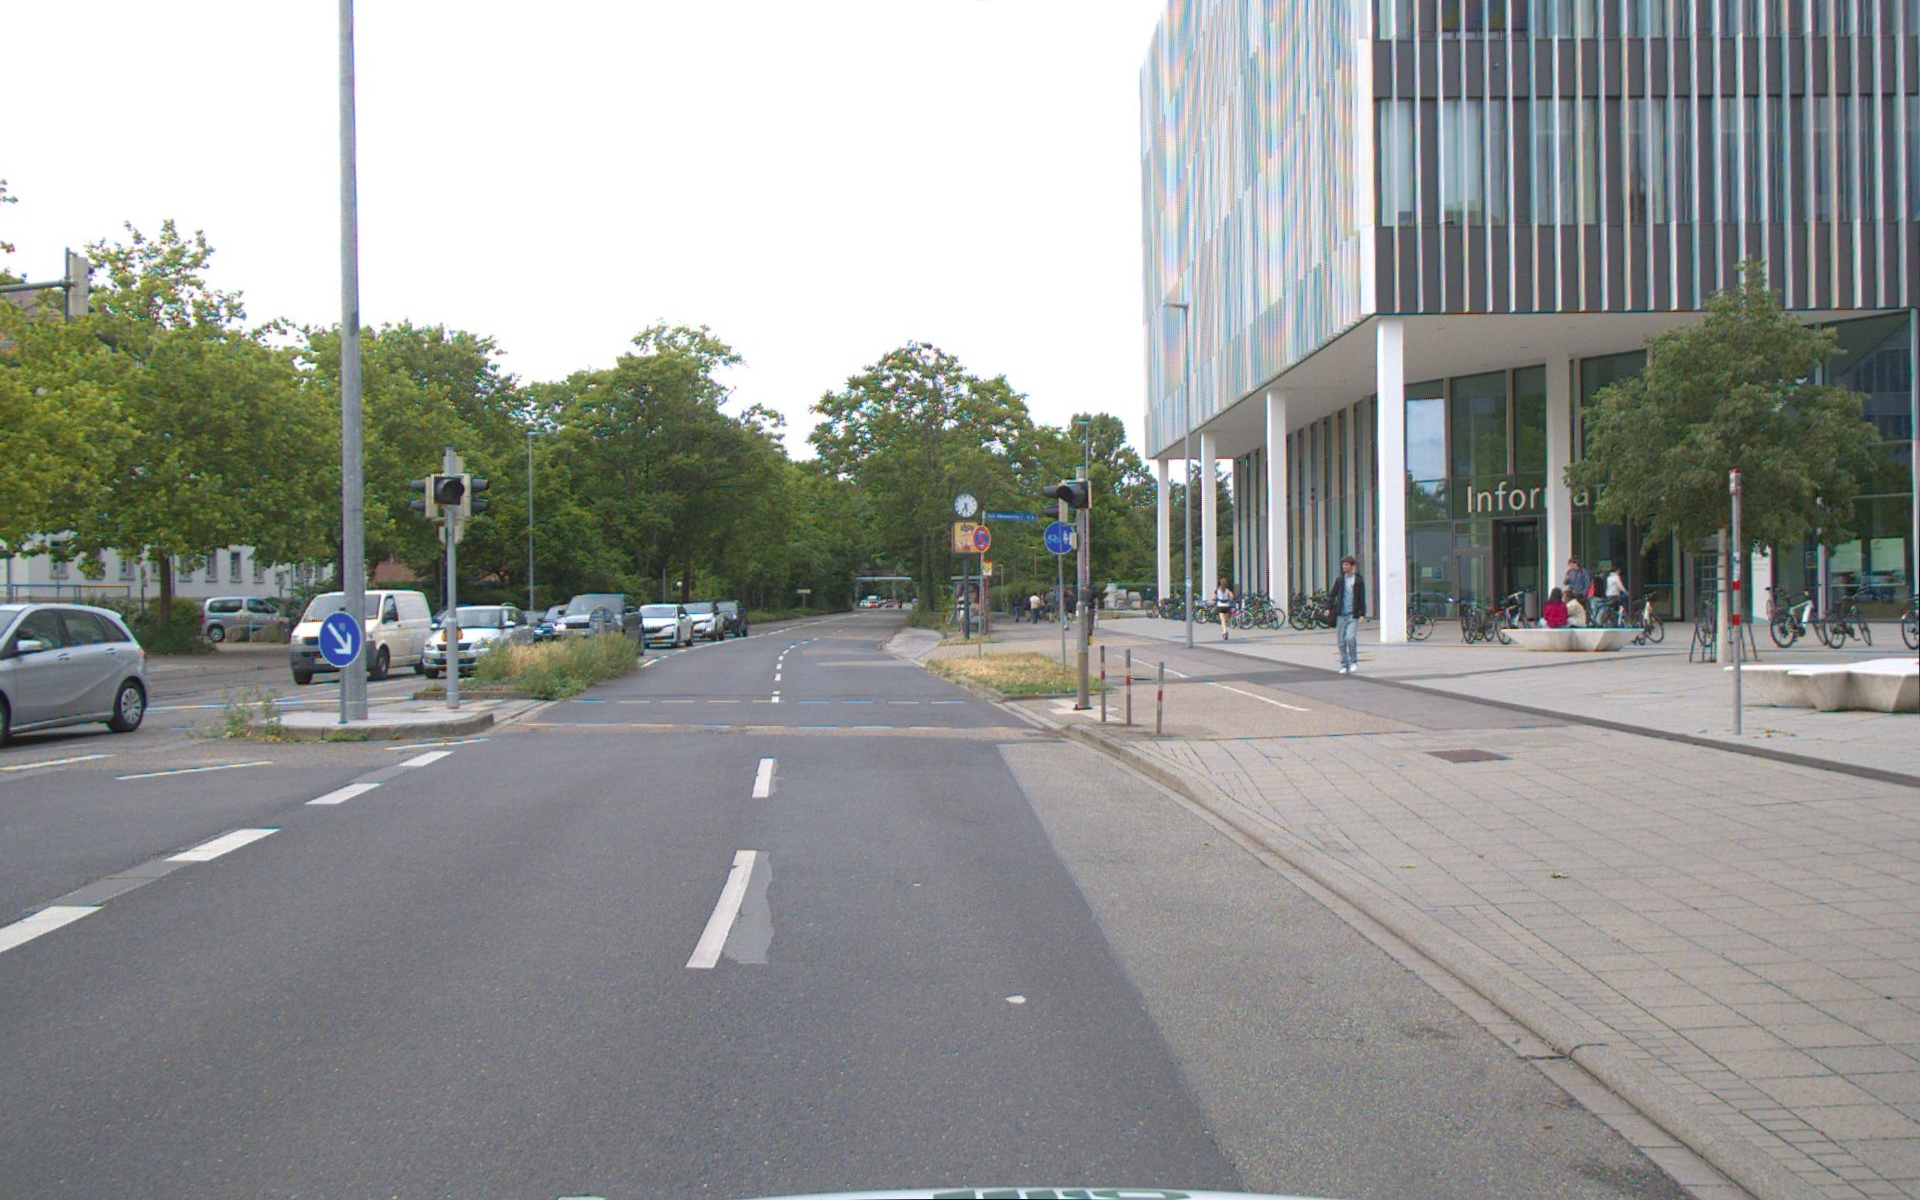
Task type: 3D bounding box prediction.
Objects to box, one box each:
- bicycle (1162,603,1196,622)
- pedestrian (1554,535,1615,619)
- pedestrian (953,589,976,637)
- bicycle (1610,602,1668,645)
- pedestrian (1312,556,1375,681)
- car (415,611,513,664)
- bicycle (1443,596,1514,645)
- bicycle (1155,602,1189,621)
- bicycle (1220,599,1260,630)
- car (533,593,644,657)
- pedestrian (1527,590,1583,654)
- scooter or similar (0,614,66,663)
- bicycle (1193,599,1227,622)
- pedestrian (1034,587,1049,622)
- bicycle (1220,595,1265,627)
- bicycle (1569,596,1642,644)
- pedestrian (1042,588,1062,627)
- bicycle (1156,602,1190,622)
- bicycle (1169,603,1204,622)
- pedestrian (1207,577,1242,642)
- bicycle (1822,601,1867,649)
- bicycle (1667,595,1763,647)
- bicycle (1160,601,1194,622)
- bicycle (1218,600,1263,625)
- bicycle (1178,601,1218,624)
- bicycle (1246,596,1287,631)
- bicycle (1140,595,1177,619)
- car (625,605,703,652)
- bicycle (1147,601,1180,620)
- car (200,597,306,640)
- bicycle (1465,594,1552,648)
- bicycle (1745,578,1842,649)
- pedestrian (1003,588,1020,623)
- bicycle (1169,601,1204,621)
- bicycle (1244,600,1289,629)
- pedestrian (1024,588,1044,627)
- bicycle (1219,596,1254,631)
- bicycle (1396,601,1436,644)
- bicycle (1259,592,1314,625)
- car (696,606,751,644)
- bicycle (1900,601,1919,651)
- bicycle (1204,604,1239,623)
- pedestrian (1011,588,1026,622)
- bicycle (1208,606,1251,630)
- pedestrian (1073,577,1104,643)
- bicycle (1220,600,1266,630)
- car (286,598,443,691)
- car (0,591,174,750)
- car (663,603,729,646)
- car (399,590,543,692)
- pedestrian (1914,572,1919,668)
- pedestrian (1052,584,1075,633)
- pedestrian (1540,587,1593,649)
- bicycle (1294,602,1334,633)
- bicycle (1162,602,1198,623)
[{"bbox_3d":[10.655,0.609,80.531,1.573,0.890,0.556,-2,0,-1],"label":"bicycle"},{"bbox_3d":[15.962,-0.579,42.273,1.156,2.098,1.136,1,0,3],"label":"pedestrian"},{"bbox_3d":[0.184,0.563,73.753,0.894,2.048,0.853,-3,2,-2],"label":"pedestrian"},{"bbox_3d":[15.144,0.518,36.859,0.659,0.914,1.836,-2,0,40],"label":"bicycle"},{"bbox_3d":[6.449,0.302,27.865,0.825,2.049,0.894,-1,0,1],"label":"pedestrian"},{"bbox_3d":[-16.451,1.200,55.123,1.820,1.636,4.593,1,0,1],"label":"car"},{"bbox_3d":[12.789,0.497,40.763,2.167,1.135,0.724,-1,0,-44],"label":"bicycle"},{"bbox_3d":[10.528,0.575,82.132,1.573,0.890,0.556,-2,0,-1],"label":"bicycle"},{"bbox_3d":[10.410,0.540,61.521,1.372,1.061,0.559,-3,0,-1],"label":"bicycle"},{"bbox_3d":[-10.496,0.677,47.074,1.952,1.717,4.948,0,0,1],"label":"car"},{"bbox_3d":[11.676,0.424,32.435,0.827,1.227,0.892,-1,0,33],"label":"pedestrian"},{"bbox_3d":[-25.318,1.046,45.117,1.542,1.265,0.566,-1,0,-1],"label":"scooter or similar"},{"bbox_3d":[10.344,0.447,68.457,1.257,0.890,0.556,-2,0,-1],"label":"bicycle"},{"bbox_3d":[4.903,0.260,99.302,0.807,2.049,0.720,-2,0,-2],"label":"pedestrian"},{"bbox_3d":[10.878,0.429,63.682,1.609,1.110,0.573,-4,-1,8],"label":"bicycle"},{"bbox_3d":[14.619,0.453,37.452,1.944,1.019,0.762,-1,0,-43],"label":"bicycle"},{"bbox_3d":[4.961,0.393,89.298,0.907,2.049,1.038,-1,0,-5],"label":"pedestrian"},{"bbox_3d":[10.482,0.580,81.545,1.573,0.890,0.556,-2,0,-1],"label":"bicycle"},{"bbox_3d":[10.848,0.596,79.346,1.573,0.890,0.556,-2,0,-1],"label":"bicycle"},{"bbox_3d":[7.720,0.265,48.335,0.825,1.868,0.894,-1,0,0],"label":"pedestrian"},{"bbox_3d":[17.655,0.487,32.999,0.388,0.914,1.462,-2,0,45],"label":"bicycle"},{"bbox_3d":[16.103,0.442,35.246,2.163,1.023,0.773,-1,0,-31],"label":"bicycle"},{"bbox_3d":[9.814,0.516,74.903,1.425,0.853,0.556,-2,0,-1],"label":"bicycle"},{"bbox_3d":[10.621,0.481,62.672,1.573,0.890,0.556,-1,0,-1],"label":"bicycle"},{"bbox_3d":[9.948,0.510,69.196,1.573,0.890,0.556,-2,0,-1],"label":"bicycle"},{"bbox_3d":[10.191,0.445,55.124,0.597,1.098,1.957,-3,0,-12],"label":"bicycle"},{"bbox_3d":[10.229,0.366,85.086,1.758,1.100,0.626,-3,0,-3],"label":"bicycle"},{"bbox_3d":[-10.138,0.953,57.038,1.865,1.491,4.910,1,0,-1],"label":"car"},{"bbox_3d":[10.219,0.506,83.087,1.573,0.890,0.556,-2,0,-1],"label":"bicycle"},{"bbox_3d":[-28.453,0.738,66.644,3.514,1.630,1.651,1,0,-3],"label":"car"},{"bbox_3d":[13.069,0.492,39.366,2.698,1.208,0.762,-1,0,-43],"label":"bicycle"},{"bbox_3d":[17.082,0.266,33.889,1.975,1.328,0.641,-3,2,-23],"label":"bicycle"},{"bbox_3d":[3.077,0.325,98.934,0.907,2.049,1.038,-1,0,-5],"label":"pedestrian"},{"bbox_3d":[10.686,0.504,78.073,1.573,0.890,0.556,-2,0,-1],"label":"bicycle"},{"bbox_3d":[11.230,0.524,60.620,1.572,0.952,0.569,-4,0,10],"label":"bicycle"},{"bbox_3d":[4.006,0.412,89.437,0.907,2.049,1.038,-1,0,-5],"label":"pedestrian"},{"bbox_3d":[9.667,0.470,57.919,0.623,1.160,2.198,-4,0,-5],"label":"bicycle"},{"bbox_3d":[11.818,0.565,42.893,0.625,1.080,1.841,1,0,4],"label":"bicycle"},{"bbox_3d":[12.588,0.329,63.794,1.951,1.164,0.645,-3,0,41],"label":"bicycle"},{"bbox_3d":[-10.639,1.113,74.672,1.864,1.621,4.515,-1,0,-1],"label":"car"},{"bbox_3d":[18.342,0.481,31.382,0.533,0.914,1.347,-2,0,45],"label":"bicycle"},{"bbox_3d":[11.118,0.581,70.378,1.405,0.759,0.556,-2,0,-1],"label":"bicycle"},{"bbox_3d":[3.509,0.300,99.081,0.808,2.049,0.719,-1,0,-5],"label":"pedestrian"},{"bbox_3d":[10.572,0.713,64.925,1.573,0.890,0.556,-1,0,-1],"label":"bicycle"},{"bbox_3d":[4.136,0.318,53.200,0.825,2.049,0.894,-3,0,1],"label":"pedestrian"},{"bbox_3d":[10.627,0.555,62.093,1.574,0.999,0.556,-4,0,-1],"label":"bicycle"},{"bbox_3d":[-12.989,0.921,36.387,1.735,1.880,4.489,1,0,1],"label":"car"},{"bbox_3d":[-10.832,0.757,18.459,1.917,1.611,4.257,-2,1,2],"label":"car"},{"bbox_3d":[-10.496,0.969,66.012,1.953,1.574,4.179,-3,0,-1],"label":"car"},{"bbox_3d":[-10.551,0.850,36.000,1.953,2.049,3.999,-1,0,-1],"label":"car"},{"bbox_3d":[14.402,0.300,23.732,0.892,1.391,0.876,1,0,-11],"label":"pedestrian"},{"bbox_3d":[4.371,0.362,69.950,0.825,2.049,0.894,-1,0,-2],"label":"pedestrian"},{"bbox_3d":[12.107,0.352,33.041,0.872,1.214,0.846,-1,0,13],"label":"pedestrian"},{"bbox_3d":[11.444,0.550,53.451,1.475,0.945,0.434,-2,2,-40],"label":"bicycle"},{"bbox_3d":[9.783,0.546,73.670,1.501,0.848,0.556,-2,0,-1],"label":"bicycle"}]
